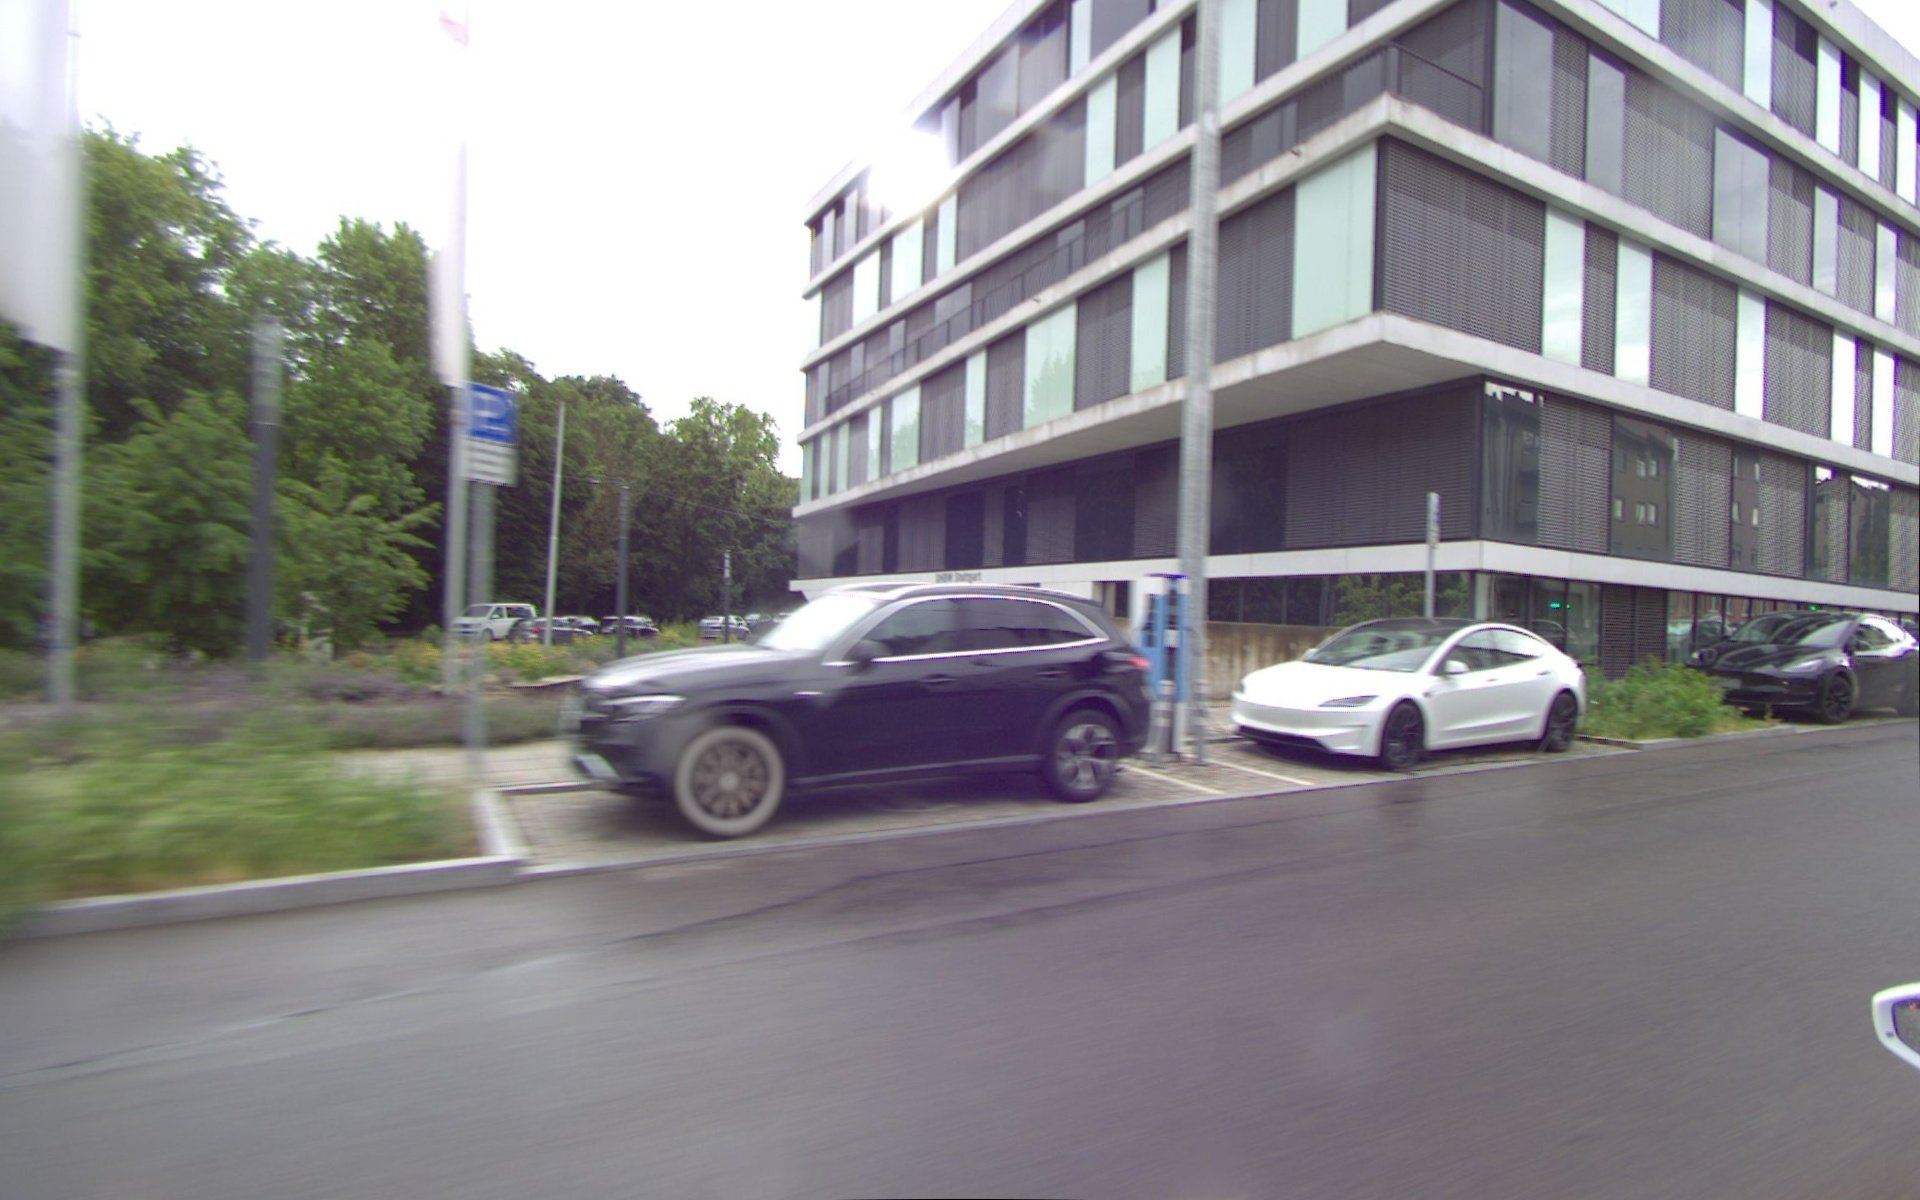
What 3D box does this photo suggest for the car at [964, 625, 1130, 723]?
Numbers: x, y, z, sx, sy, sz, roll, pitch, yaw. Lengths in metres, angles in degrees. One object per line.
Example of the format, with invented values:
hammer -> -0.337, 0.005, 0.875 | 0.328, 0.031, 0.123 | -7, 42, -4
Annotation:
car -> 2.238, 1.890, 27.070 | 1.912, 2.203, 4.559 | 2, 0, -35

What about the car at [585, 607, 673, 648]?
car -> -15.535, 1.251, 47.408 | 1.883, 1.763, 4.001 | 2, 0, 18

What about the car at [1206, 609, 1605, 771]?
car -> 4.975, 0.886, 11.080 | 4.351, 1.437, 1.812 | 2, 0, -30

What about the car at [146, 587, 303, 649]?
car -> -26.989, 0.648, 37.030 | 2.035, 2.070, 4.281 | 2, 0, 16

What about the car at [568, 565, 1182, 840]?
car -> -0.567, 0.650, 7.894 | 4.438, 1.639, 1.840 | 2, 0, -30

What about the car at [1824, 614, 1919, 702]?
car -> 18.605, 1.087, 19.101 | 4.685, 1.492, 1.862 | 2, 0, -30

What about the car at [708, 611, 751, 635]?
car -> -17.192, 1.701, 75.064 | 1.711, 1.628, 3.868 | 2, 0, 11

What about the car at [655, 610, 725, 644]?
car -> -13.993, 1.369, 52.223 | 1.770, 1.609, 3.679 | 2, 0, 18

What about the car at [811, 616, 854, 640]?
car -> -8.583, 1.866, 67.675 | 1.413, 1.514, 3.640 | 1, 0, 18

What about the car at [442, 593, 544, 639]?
car -> -23.337, 0.776, 50.421 | 2.125, 2.125, 4.840 | 2, 0, 11

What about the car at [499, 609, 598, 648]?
car -> -16.920, 1.149, 41.512 | 1.635, 1.469, 3.869 | 2, 0, 18

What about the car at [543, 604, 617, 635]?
car -> -21.452, 1.083, 56.885 | 1.891, 1.628, 4.282 | 2, 0, 11

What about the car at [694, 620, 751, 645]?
car -> -13.160, 1.788, 55.773 | 1.452, 1.258, 3.401 | 2, 0, 18

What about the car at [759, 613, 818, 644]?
car -> -10.678, 1.765, 62.835 | 1.960, 1.763, 4.001 | 2, 0, 18

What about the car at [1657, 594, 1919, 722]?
car -> 13.571, 0.872, 16.068 | 4.880, 1.773, 1.955 | 2, 0, -28
